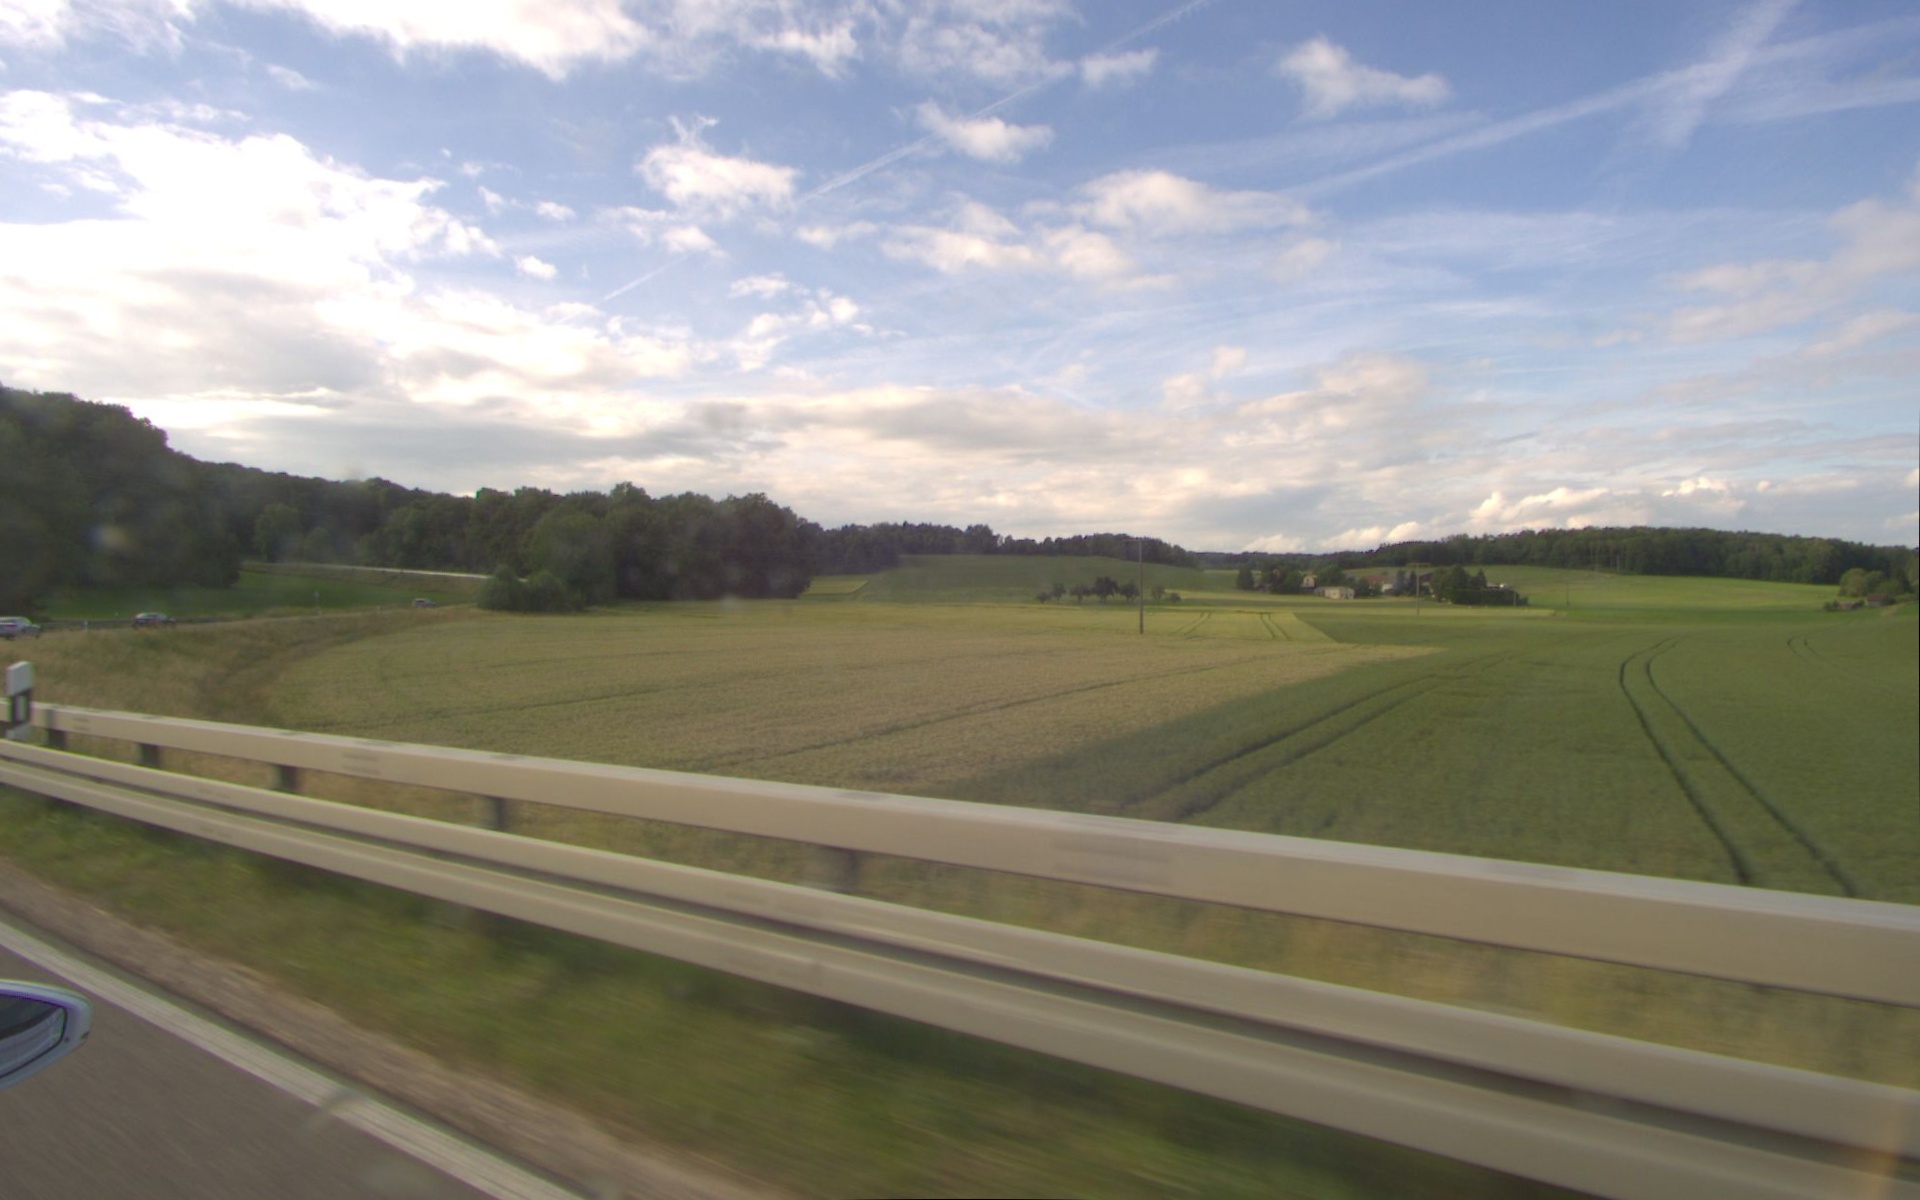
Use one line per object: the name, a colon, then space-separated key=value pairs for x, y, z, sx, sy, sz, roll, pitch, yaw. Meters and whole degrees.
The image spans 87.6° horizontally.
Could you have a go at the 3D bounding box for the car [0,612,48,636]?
car: x=-60.145 y=1.513 z=63.973 sx=1.661 sy=1.394 sz=3.984 roll=-1 pitch=0 yaw=-25

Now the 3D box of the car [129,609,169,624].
car: x=-68.797 y=1.423 z=85.002 sx=1.450 sy=1.243 sz=3.294 roll=-1 pitch=-1 yaw=-17

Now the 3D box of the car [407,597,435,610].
car: x=-78.426 y=0.506 z=145.742 sx=1.961 sy=1.700 sz=4.179 roll=1 pitch=-1 yaw=-2
